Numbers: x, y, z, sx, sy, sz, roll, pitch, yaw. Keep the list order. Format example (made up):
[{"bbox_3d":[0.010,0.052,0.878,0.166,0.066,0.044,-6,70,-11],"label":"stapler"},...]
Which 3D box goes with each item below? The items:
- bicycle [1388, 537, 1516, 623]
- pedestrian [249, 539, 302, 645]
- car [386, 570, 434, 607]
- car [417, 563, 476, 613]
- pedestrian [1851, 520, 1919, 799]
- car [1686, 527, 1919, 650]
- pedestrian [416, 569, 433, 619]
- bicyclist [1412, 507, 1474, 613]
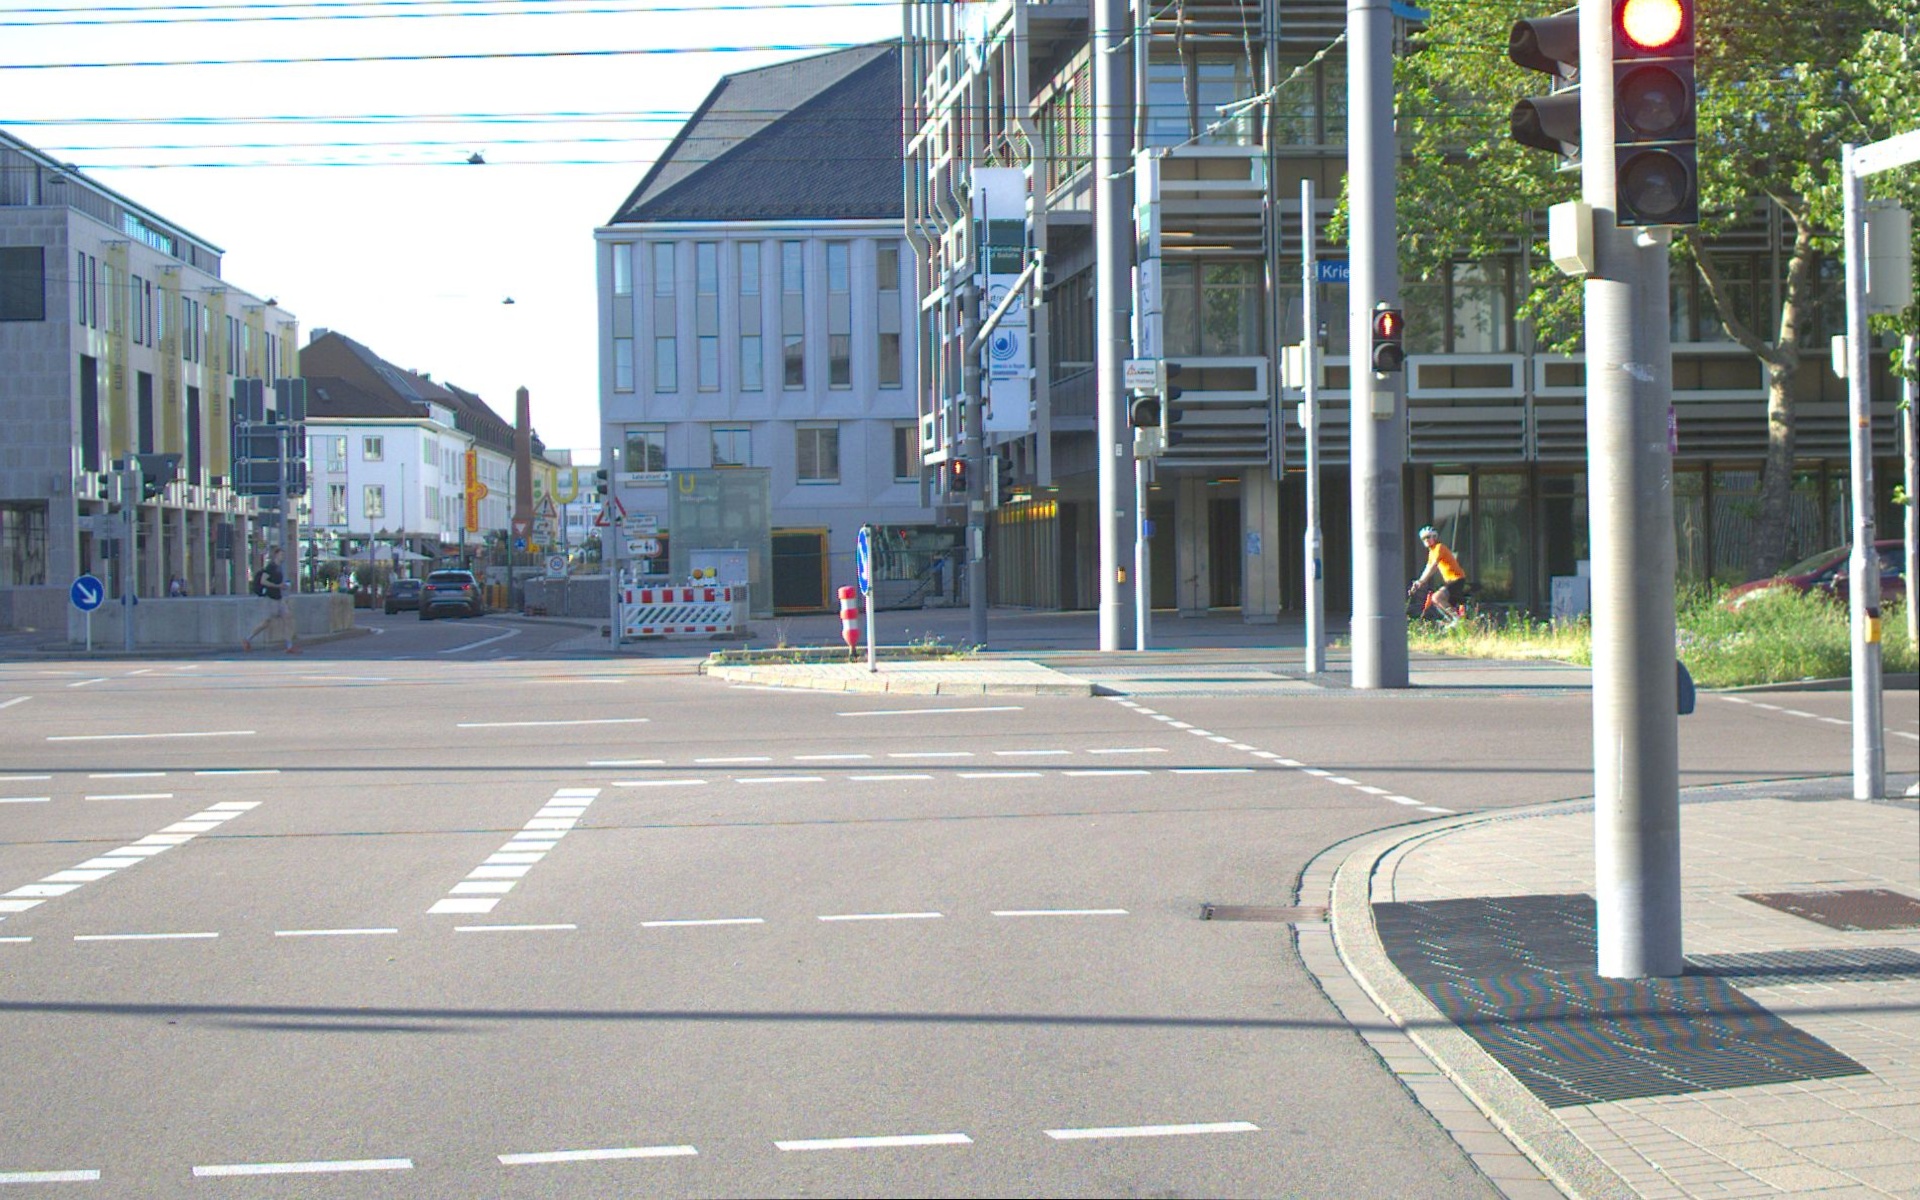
[{"bbox_3d":[6.753,-0.279,47.187,1.644,1.150,0.497,1,0,-9],"label":"bicycle"},{"bbox_3d":[-12.345,-0.144,62.046,0.642,1.883,0.790,1,0,14],"label":"pedestrian"},{"bbox_3d":[-22.333,-0.485,139.636,1.785,1.446,4.001,1,1,-7],"label":"car"},{"bbox_3d":[-16.147,-0.385,108.213,1.737,1.525,3.856,1,1,-7],"label":"car"},{"bbox_3d":[5.336,0.318,18.684,0.788,1.487,0.644,1,0,-1],"label":"pedestrian"},{"bbox_3d":[11.905,-0.173,46.160,3.884,1.579,1.660,-1,1,-7],"label":"car"},{"bbox_3d":[-18.254,-0.210,117.194,0.521,1.674,0.583,1,1,-7],"label":"pedestrian"},{"bbox_3d":[6.625,-0.544,47.164,0.711,1.432,0.497,1,0,-9],"label":"bicyclist"}]
